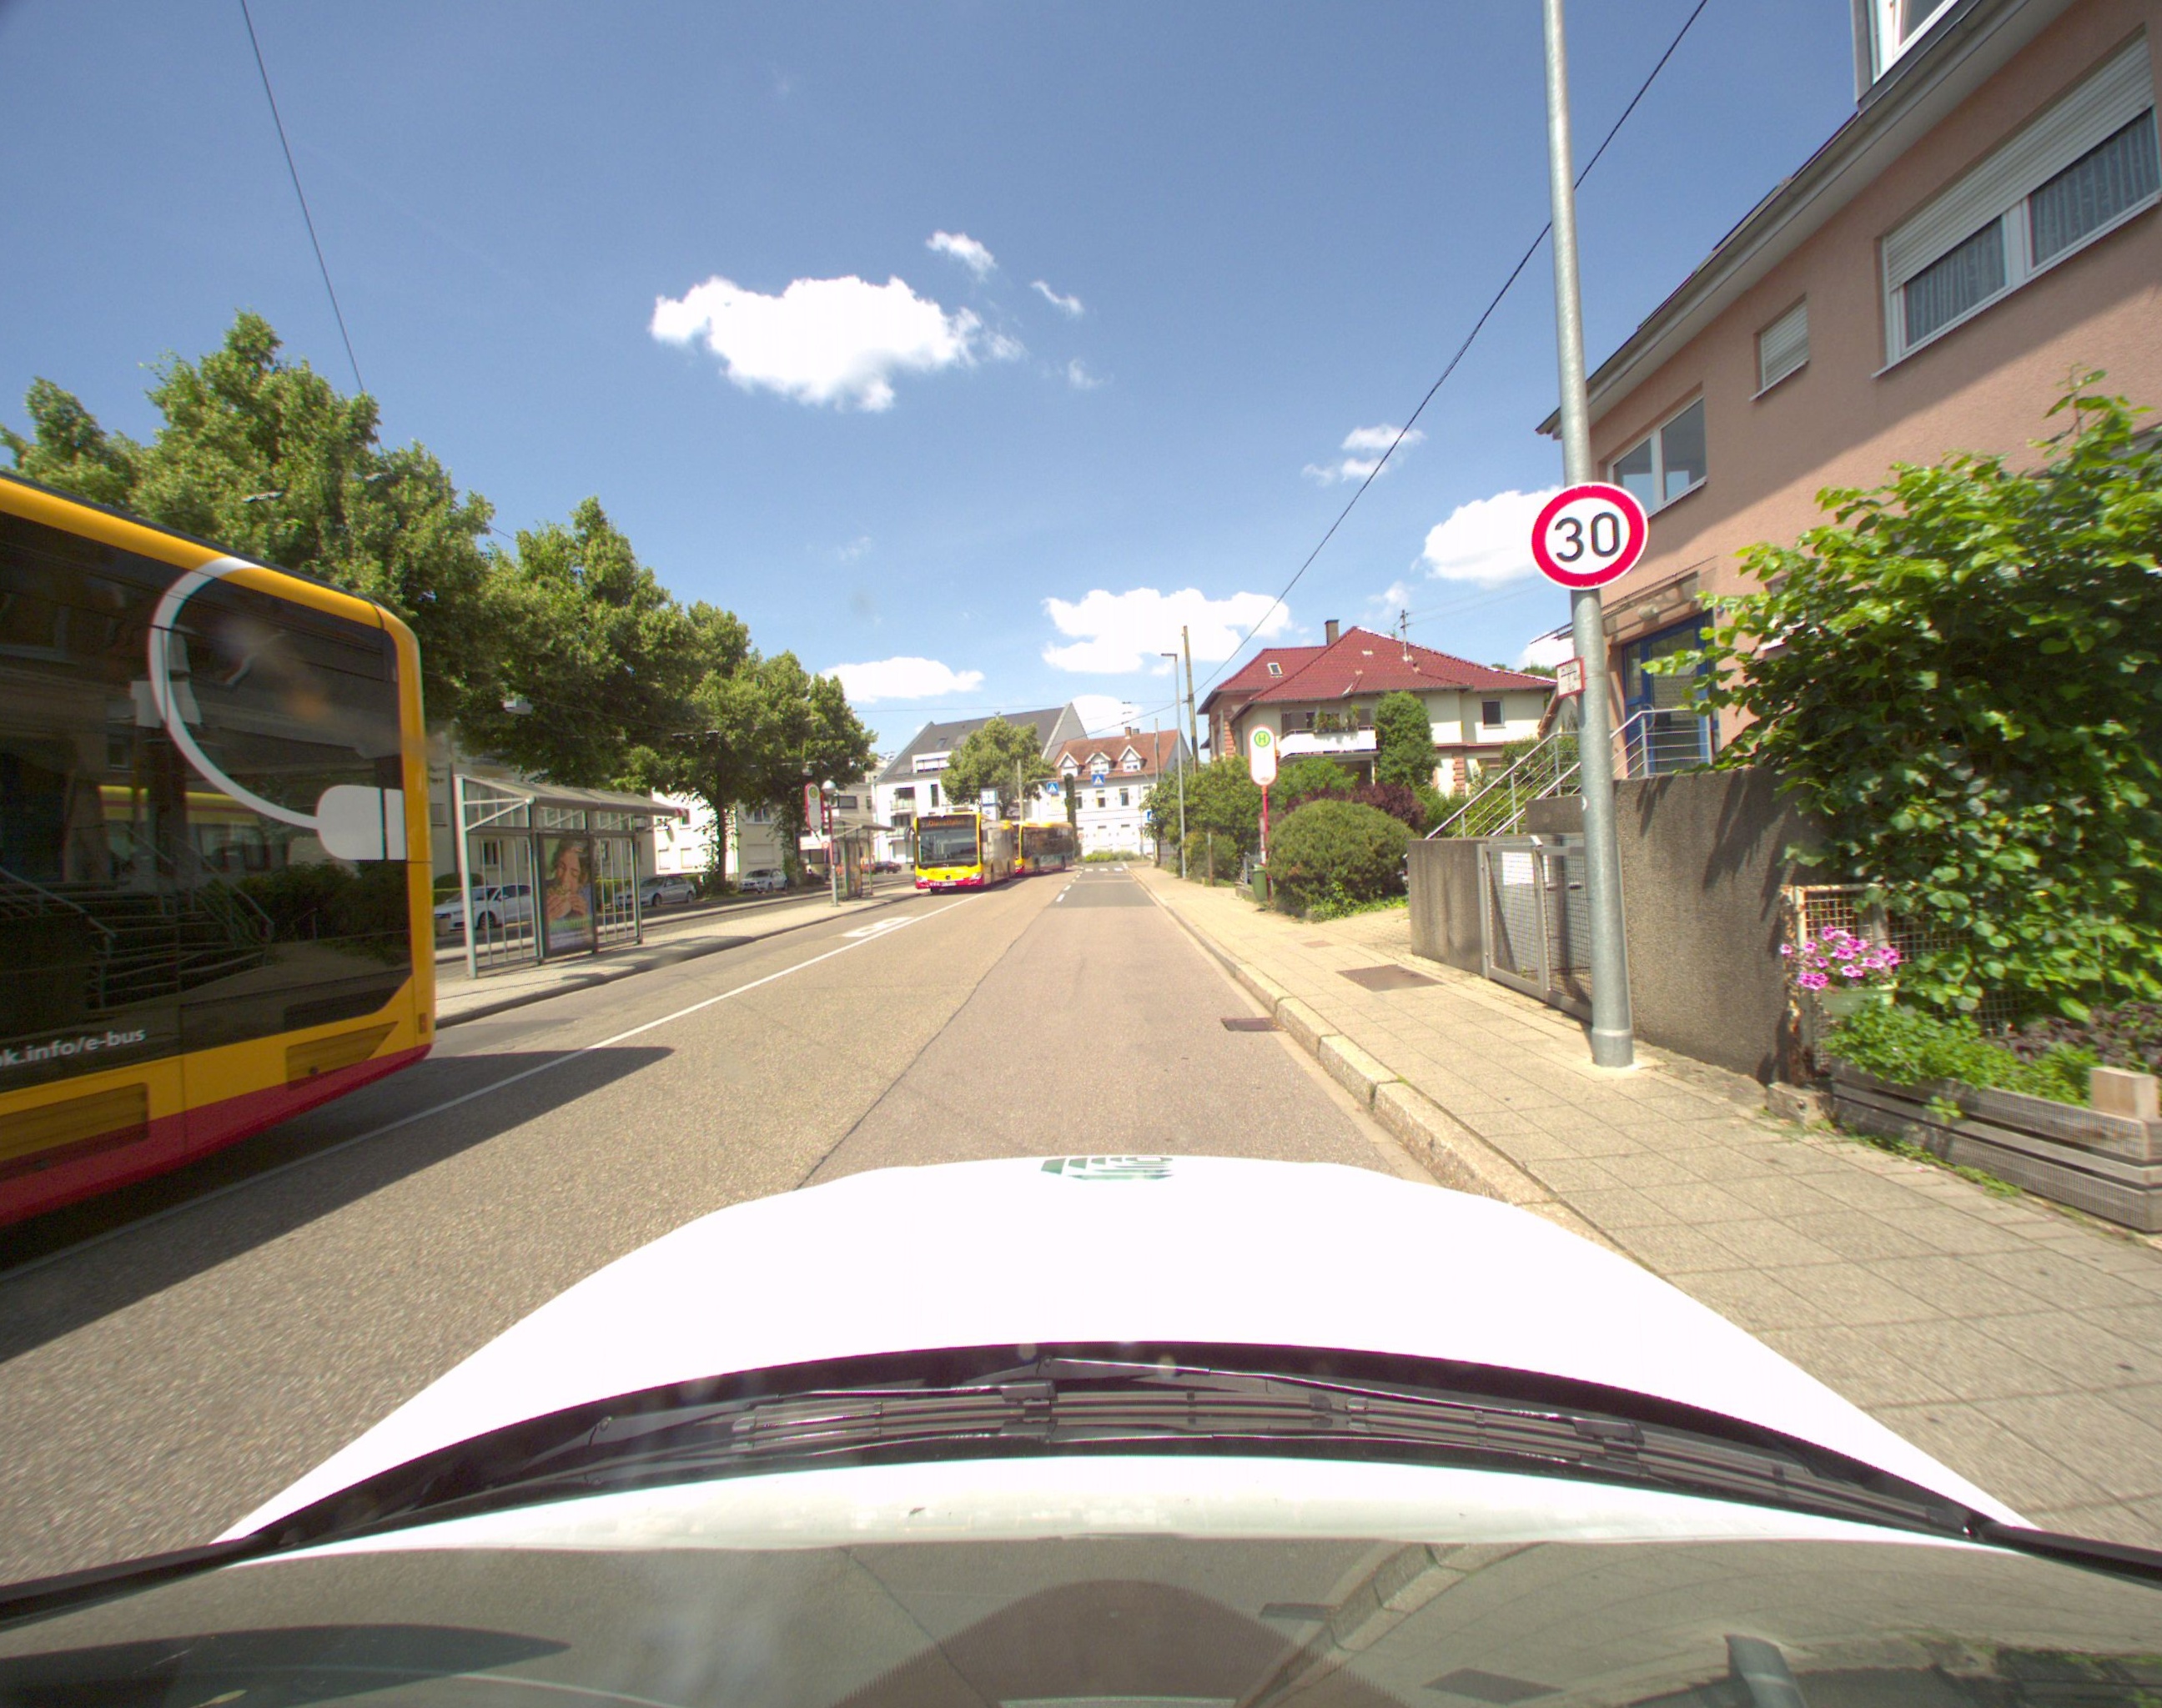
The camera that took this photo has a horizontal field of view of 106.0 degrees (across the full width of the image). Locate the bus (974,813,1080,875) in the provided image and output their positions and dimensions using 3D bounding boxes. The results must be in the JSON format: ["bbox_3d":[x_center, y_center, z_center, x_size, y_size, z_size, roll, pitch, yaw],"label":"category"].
[{"bbox_3d":[-2.878,-0.630,48.943,2.760,3.208,12.352,-1,1,13],"label":"bus"}]

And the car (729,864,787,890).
[{"bbox_3d":[-17.790,1.262,45.074,1.710,1.319,3.996,-1,-1,-2],"label":"car"}]

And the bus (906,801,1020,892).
[{"bbox_3d":[-4.708,-0.257,35.455,2.897,3.248,12.121,-1,0,1],"label":"bus"}]

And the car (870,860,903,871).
[{"bbox_3d":[-21.620,1.257,90.501,3.178,1.223,1.599,-1,-1,19],"label":"car"}]

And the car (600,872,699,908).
[{"bbox_3d":[-17.959,1.455,34.146,1.688,1.357,4.402,-1,-1,1],"label":"car"}]

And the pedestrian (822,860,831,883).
[{"bbox_3d":[-22.695,1.576,72.611,0.688,2.014,0.612,0,-2,-33],"label":"pedestrian"}]

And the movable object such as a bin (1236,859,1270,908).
[{"bbox_3d":[3.401,0.582,16.125,0.405,0.907,0.729,-6,-1,-2],"label":"movable object such as a bin"}]

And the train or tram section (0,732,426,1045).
[{"bbox_3d":[-14.062,0.414,8.402,2.952,3.642,13.998,-1,0,2],"label":"train or tram section"}]

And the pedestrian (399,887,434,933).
[{"bbox_3d":[-16.822,1.416,20.620,0.508,1.138,0.457,-1,-1,4],"label":"pedestrian"}]

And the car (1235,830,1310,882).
[{"bbox_3d":[6.671,0.109,28.786,1.754,1.628,4.000,3,-1,1],"label":"car"}]

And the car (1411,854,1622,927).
[{"bbox_3d":[10.402,0.836,19.686,4.115,1.425,1.724,4,0,3],"label":"car"}]

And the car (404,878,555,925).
[{"bbox_3d":[-18.204,1.391,24.897,1.562,1.273,4.001,-1,-1,2],"label":"car"}]

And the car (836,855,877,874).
[{"bbox_3d":[-24.254,1.157,88.025,3.949,2.014,2.012,-1,-1,30],"label":"car"}]
